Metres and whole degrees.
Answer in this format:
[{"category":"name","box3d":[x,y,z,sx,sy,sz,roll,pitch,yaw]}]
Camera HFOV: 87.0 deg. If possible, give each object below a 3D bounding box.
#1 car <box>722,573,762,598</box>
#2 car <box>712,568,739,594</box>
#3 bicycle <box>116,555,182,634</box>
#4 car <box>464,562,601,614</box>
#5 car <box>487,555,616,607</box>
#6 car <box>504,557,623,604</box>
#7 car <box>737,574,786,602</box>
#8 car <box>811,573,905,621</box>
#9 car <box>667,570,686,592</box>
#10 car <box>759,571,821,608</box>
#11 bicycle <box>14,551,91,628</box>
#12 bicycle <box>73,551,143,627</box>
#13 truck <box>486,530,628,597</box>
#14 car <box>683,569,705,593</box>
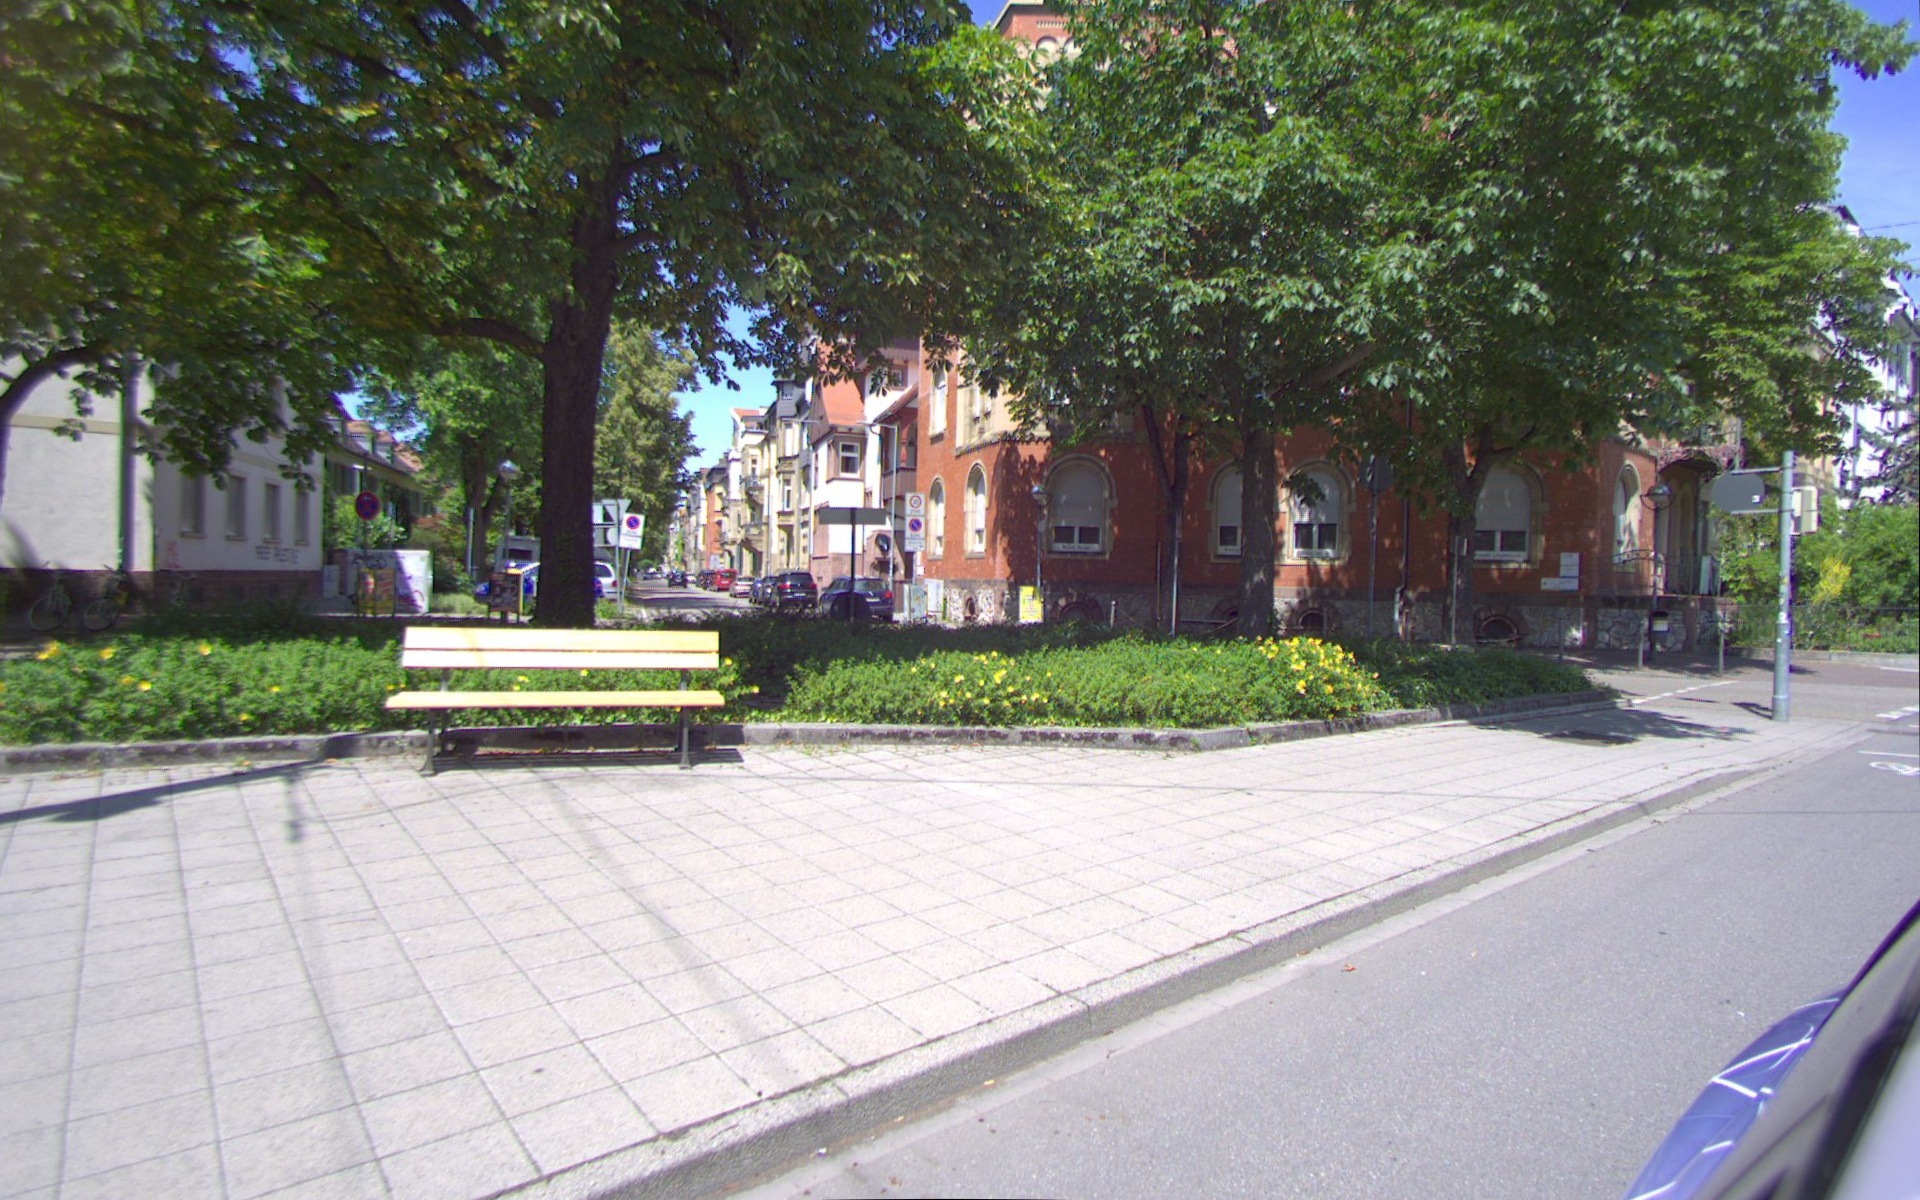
[{"category":"car","box3d":[-14.308,-0.968,66.248,1.865,1.575,4.411,0,1,-21]},{"category":"car","box3d":[-18.523,-1.513,79.952,1.868,2.039,4.009,0,1,-16]},{"category":"bicycle","box3d":[-14.444,-0.118,18.062,0.536,1.316,2.162,0,1,-28]},{"category":"car","box3d":[-13.275,-0.362,31.597,3.807,1.447,1.731,2,0,-21]},{"category":"car","box3d":[-14.648,-0.674,36.433,4.176,1.673,1.731,2,0,-21]},{"category":"car","box3d":[-15.418,-0.747,39.444,4.176,1.673,1.731,2,0,-21]},{"category":"car","box3d":[-11.012,-0.679,55.893,1.865,1.482,4.625,0,1,-21]},{"category":"car","box3d":[-3.423,-0.137,33.042,1.865,1.459,4.769,0,1,-21]},{"category":"car","box3d":[-26.640,-1.811,95.034,1.705,2.039,4.009,0,1,-16]},{"category":"car","box3d":[-7.837,-0.507,46.281,1.946,1.551,5.502,0,1,-19]},{"category":"bicycle","box3d":[-16.323,-0.200,18.247,0.536,1.316,2.162,0,1,-28]},{"category":"bicycle","box3d":[-15.491,-0.211,18.439,0.536,1.316,2.162,0,1,-28]},{"category":"truck","box3d":[-20.834,-1.843,52.607,6.685,3.193,1.939,2,0,-20]},{"category":"car","box3d":[-23.631,-1.691,89.885,1.777,2.039,3.676,0,1,-16]}]
